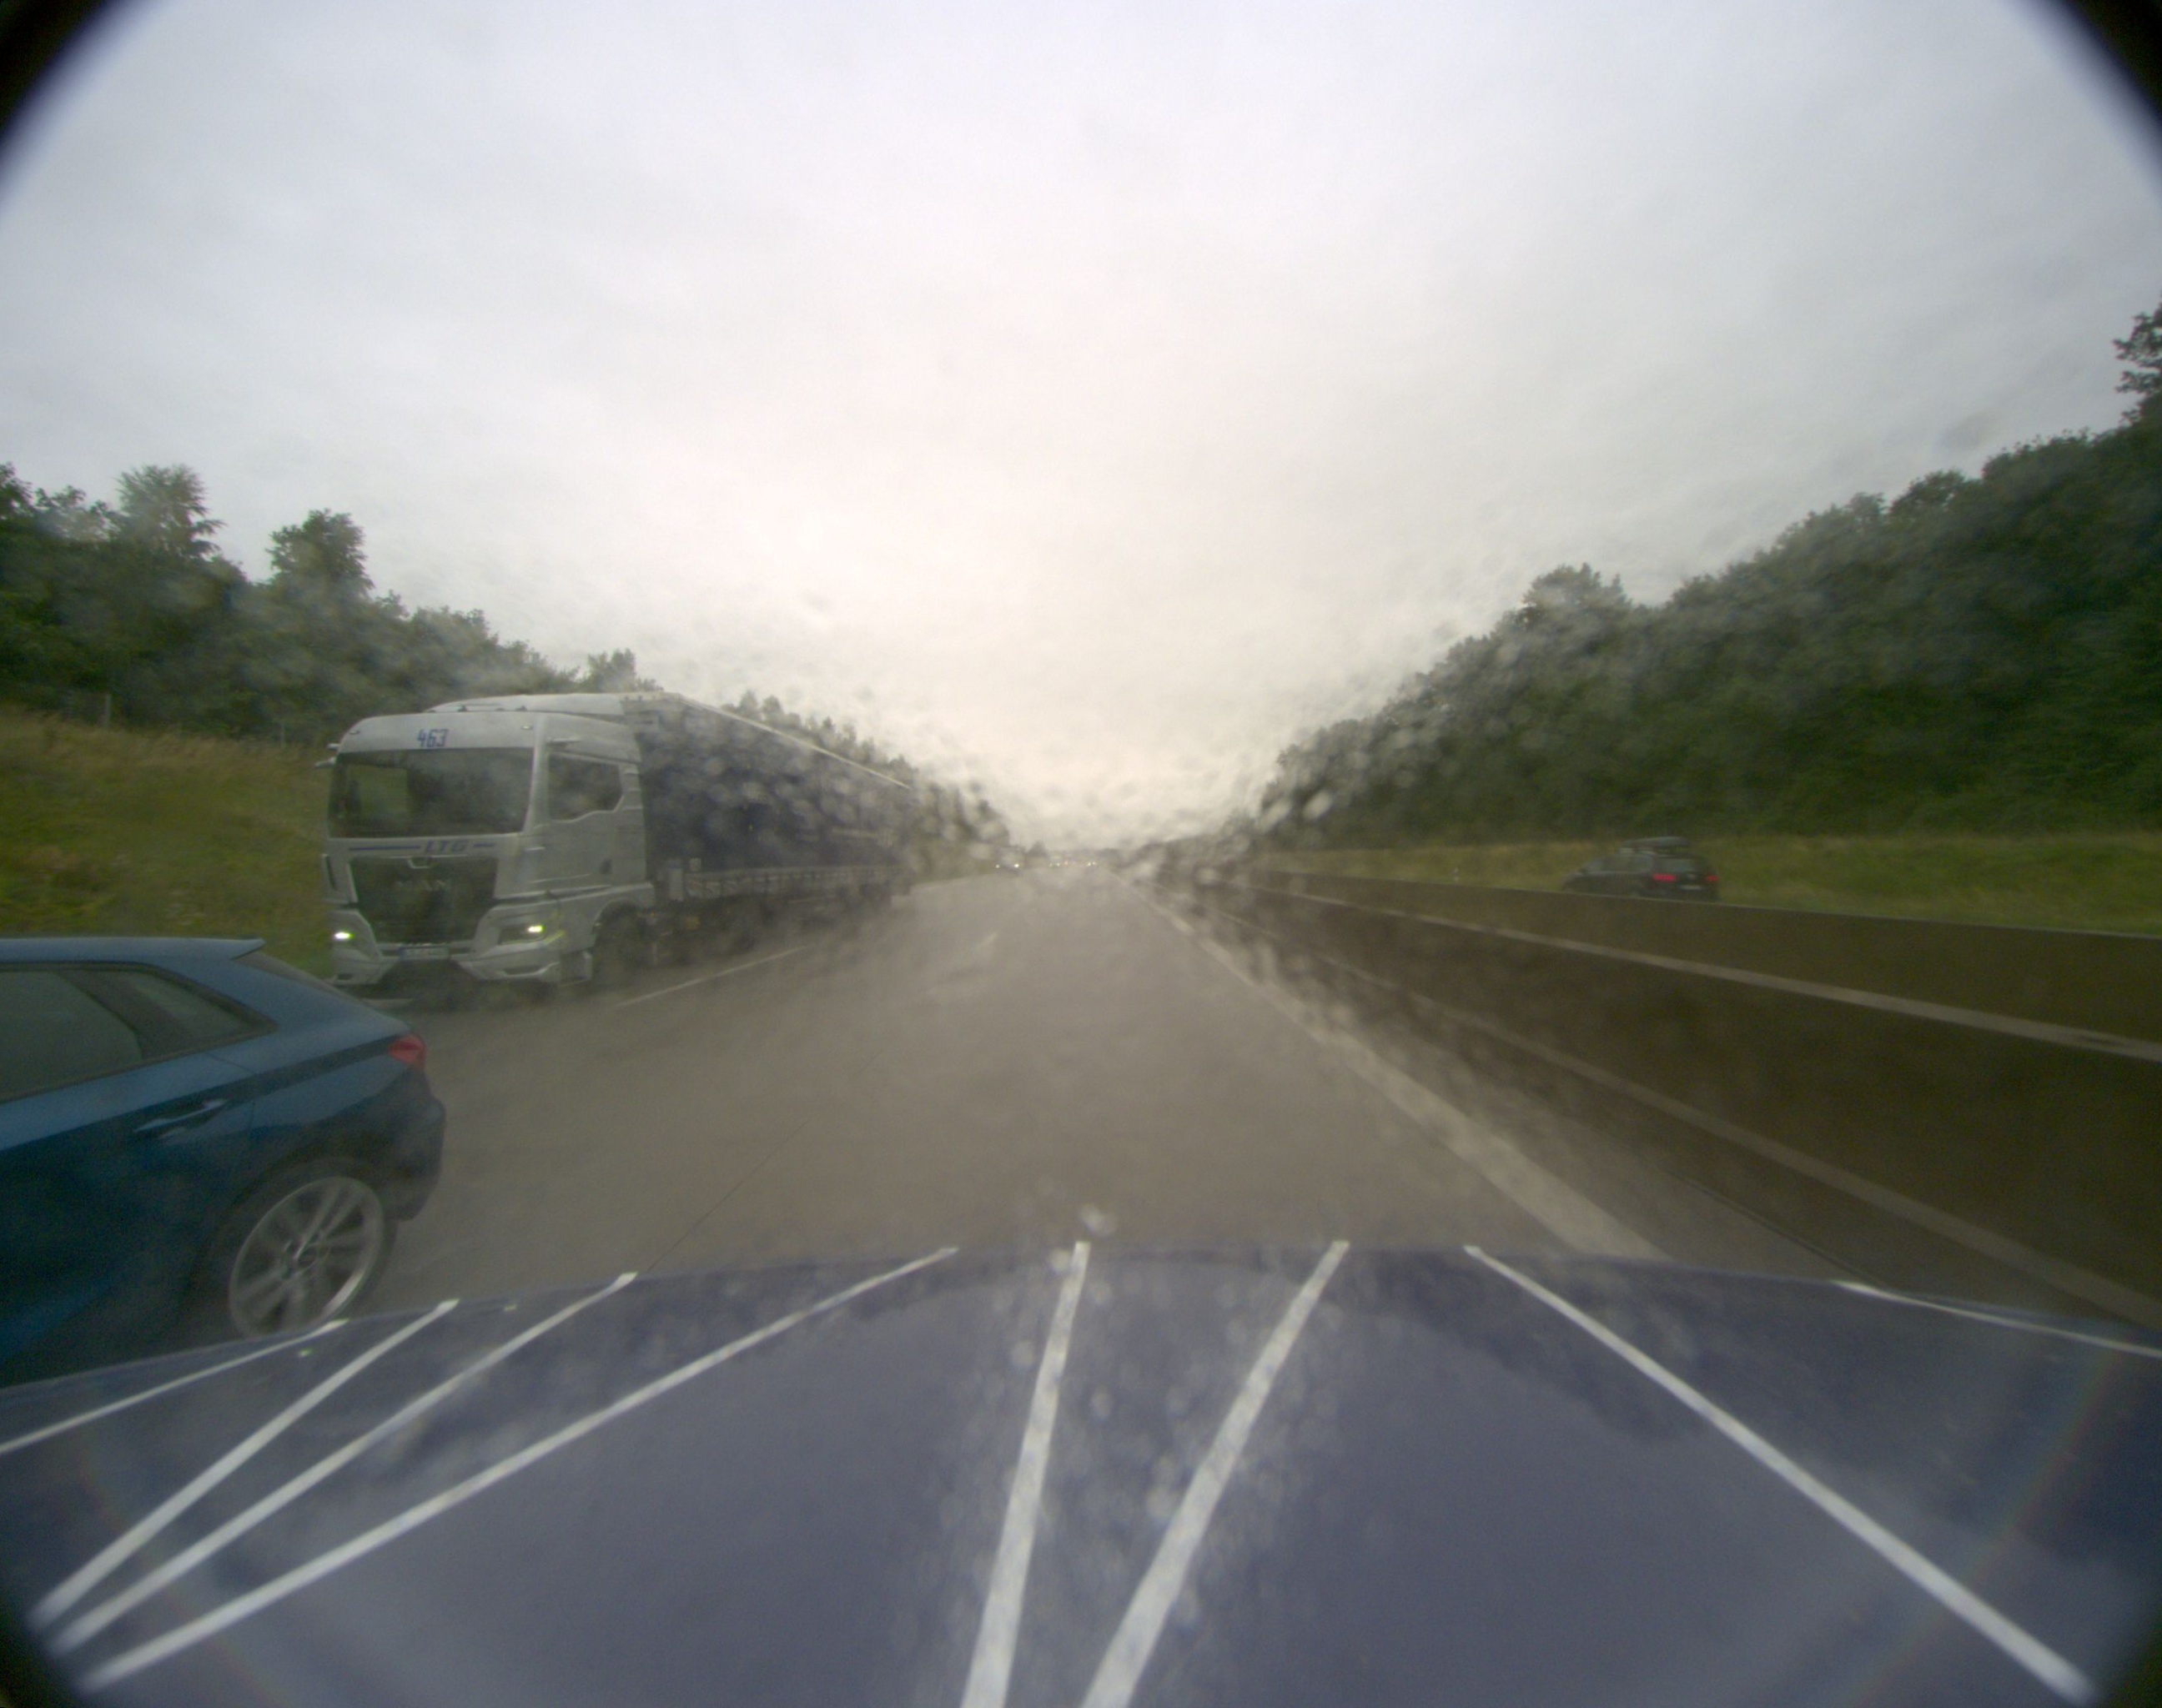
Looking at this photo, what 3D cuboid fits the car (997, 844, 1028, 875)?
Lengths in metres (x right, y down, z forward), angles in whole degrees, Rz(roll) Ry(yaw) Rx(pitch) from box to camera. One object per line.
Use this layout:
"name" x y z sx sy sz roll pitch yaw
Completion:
"car" -6.231 0.525 69.800 1.945 2.643 6.588 -3 -1 2

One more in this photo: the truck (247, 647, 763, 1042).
"truck" -7.076 -0.083 10.607 2.643 3.931 5.686 -2 0 1

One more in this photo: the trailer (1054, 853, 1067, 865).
"trailer" -4.312 1.008 159.255 2.348 2.445 5.940 0 0 2

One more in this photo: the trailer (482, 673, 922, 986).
"trailer" -6.982 -0.345 18.430 2.713 4.354 15.204 -2 0 1

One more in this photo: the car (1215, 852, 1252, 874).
"car" 11.638 0.661 58.260 1.973 1.600 4.852 0 0 2

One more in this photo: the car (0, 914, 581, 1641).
"car" -3.296 1.049 1.268 1.733 1.450 4.672 -1 1 1

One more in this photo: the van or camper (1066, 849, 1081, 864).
"van or camper" -1.296 0.373 133.544 2.233 2.537 7.950 0 0 2

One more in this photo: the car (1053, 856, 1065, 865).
"car" -4.453 1.350 153.323 1.998 1.575 5.954 -3 -1 2

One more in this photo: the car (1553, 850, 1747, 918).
"car" 16.371 0.771 22.278 2.065 1.791 4.852 0 0 0

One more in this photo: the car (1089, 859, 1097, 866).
"car" 2.695 1.790 168.662 1.733 1.450 4.672 -1 1 1
